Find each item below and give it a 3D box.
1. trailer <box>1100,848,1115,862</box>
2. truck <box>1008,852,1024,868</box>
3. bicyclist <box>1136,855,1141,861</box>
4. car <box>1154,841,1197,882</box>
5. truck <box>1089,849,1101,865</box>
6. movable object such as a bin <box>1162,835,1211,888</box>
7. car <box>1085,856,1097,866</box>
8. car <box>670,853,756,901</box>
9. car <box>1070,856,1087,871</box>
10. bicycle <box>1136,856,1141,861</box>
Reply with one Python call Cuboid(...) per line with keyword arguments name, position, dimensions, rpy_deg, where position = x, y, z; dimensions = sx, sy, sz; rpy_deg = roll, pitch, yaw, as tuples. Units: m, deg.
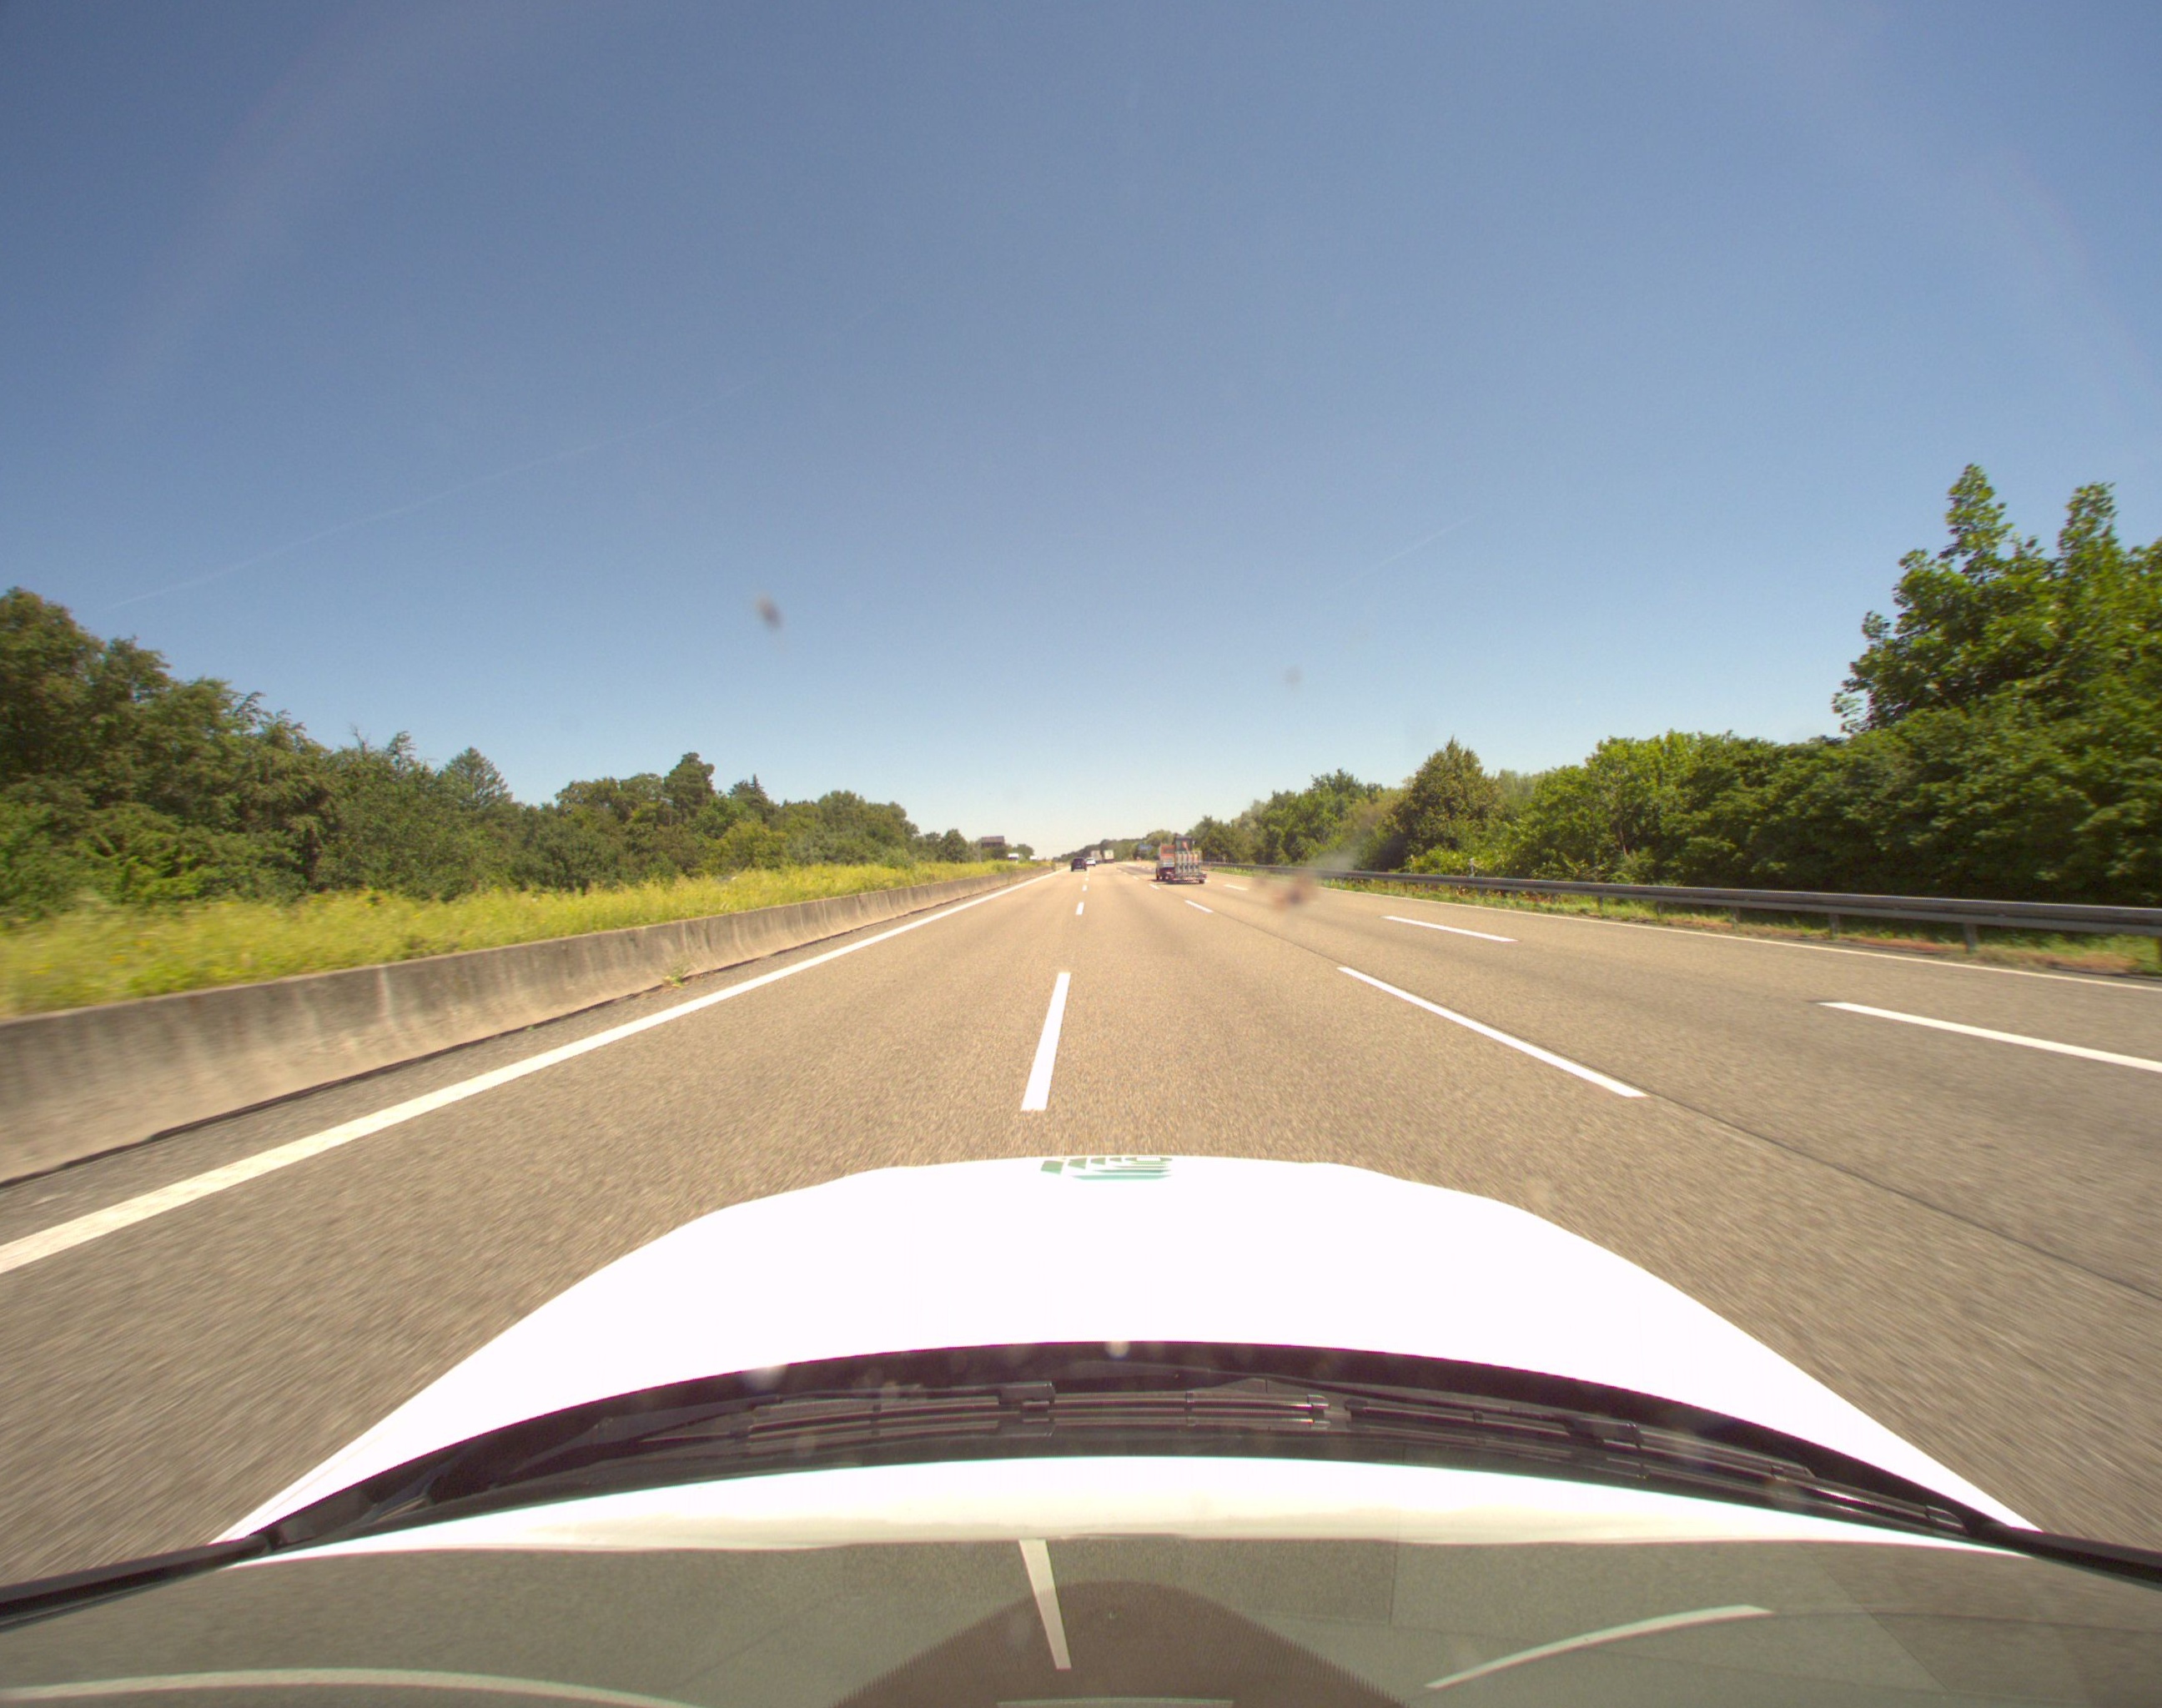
Cuboid(name="trailer", position=(7.992, 0.450, 246.411), dimensions=(3.362, 4.143, 9.076), rpy_deg=(0, -1, -5))
Cuboid(name="truck", position=(-16.916, 1.513, 212.067), dimensions=(2.974, 4.076, 8.194), rpy_deg=(-3, 0, 1))
Cuboid(name="bicyclist", position=(13.680, 0.945, 194.190), dimensions=(0.954, 1.595, 0.809), rpy_deg=(0, -1, 9))
Cuboid(name="car", position=(6.120, 0.466, 53.445), dimensions=(1.987, 2.405, 7.227), rpy_deg=(-3, -1, 1))
Cuboid(name="truck", position=(3.859, 0.823, 231.504), dimensions=(3.219, 4.202, 8.463), rpy_deg=(-1, 0, 0))
Cuboid(name="movable object such as a bin", position=(6.042, 0.412, 47.384), dimensions=(2.167, 2.815, 4.761), rpy_deg=(-3, -1, 1))
Cuboid(name="car", position=(1.845, 1.321, 151.051), dimensions=(1.987, 1.874, 4.000), rpy_deg=(-3, -1, 1))
Cuboid(name="car", position=(-16.838, 1.011, 37.492), dimensions=(1.986, 2.014, 4.001), rpy_deg=(-1, 0, 2))
Cuboid(name="car", position=(-0.251, 1.205, 104.477), dimensions=(1.987, 1.874, 4.000), rpy_deg=(-3, -1, 1))
Cuboid(name="bicycle", position=(13.680, 1.157, 194.192), dimensions=(0.954, 1.157, 2.613), rpy_deg=(0, -1, 9))
